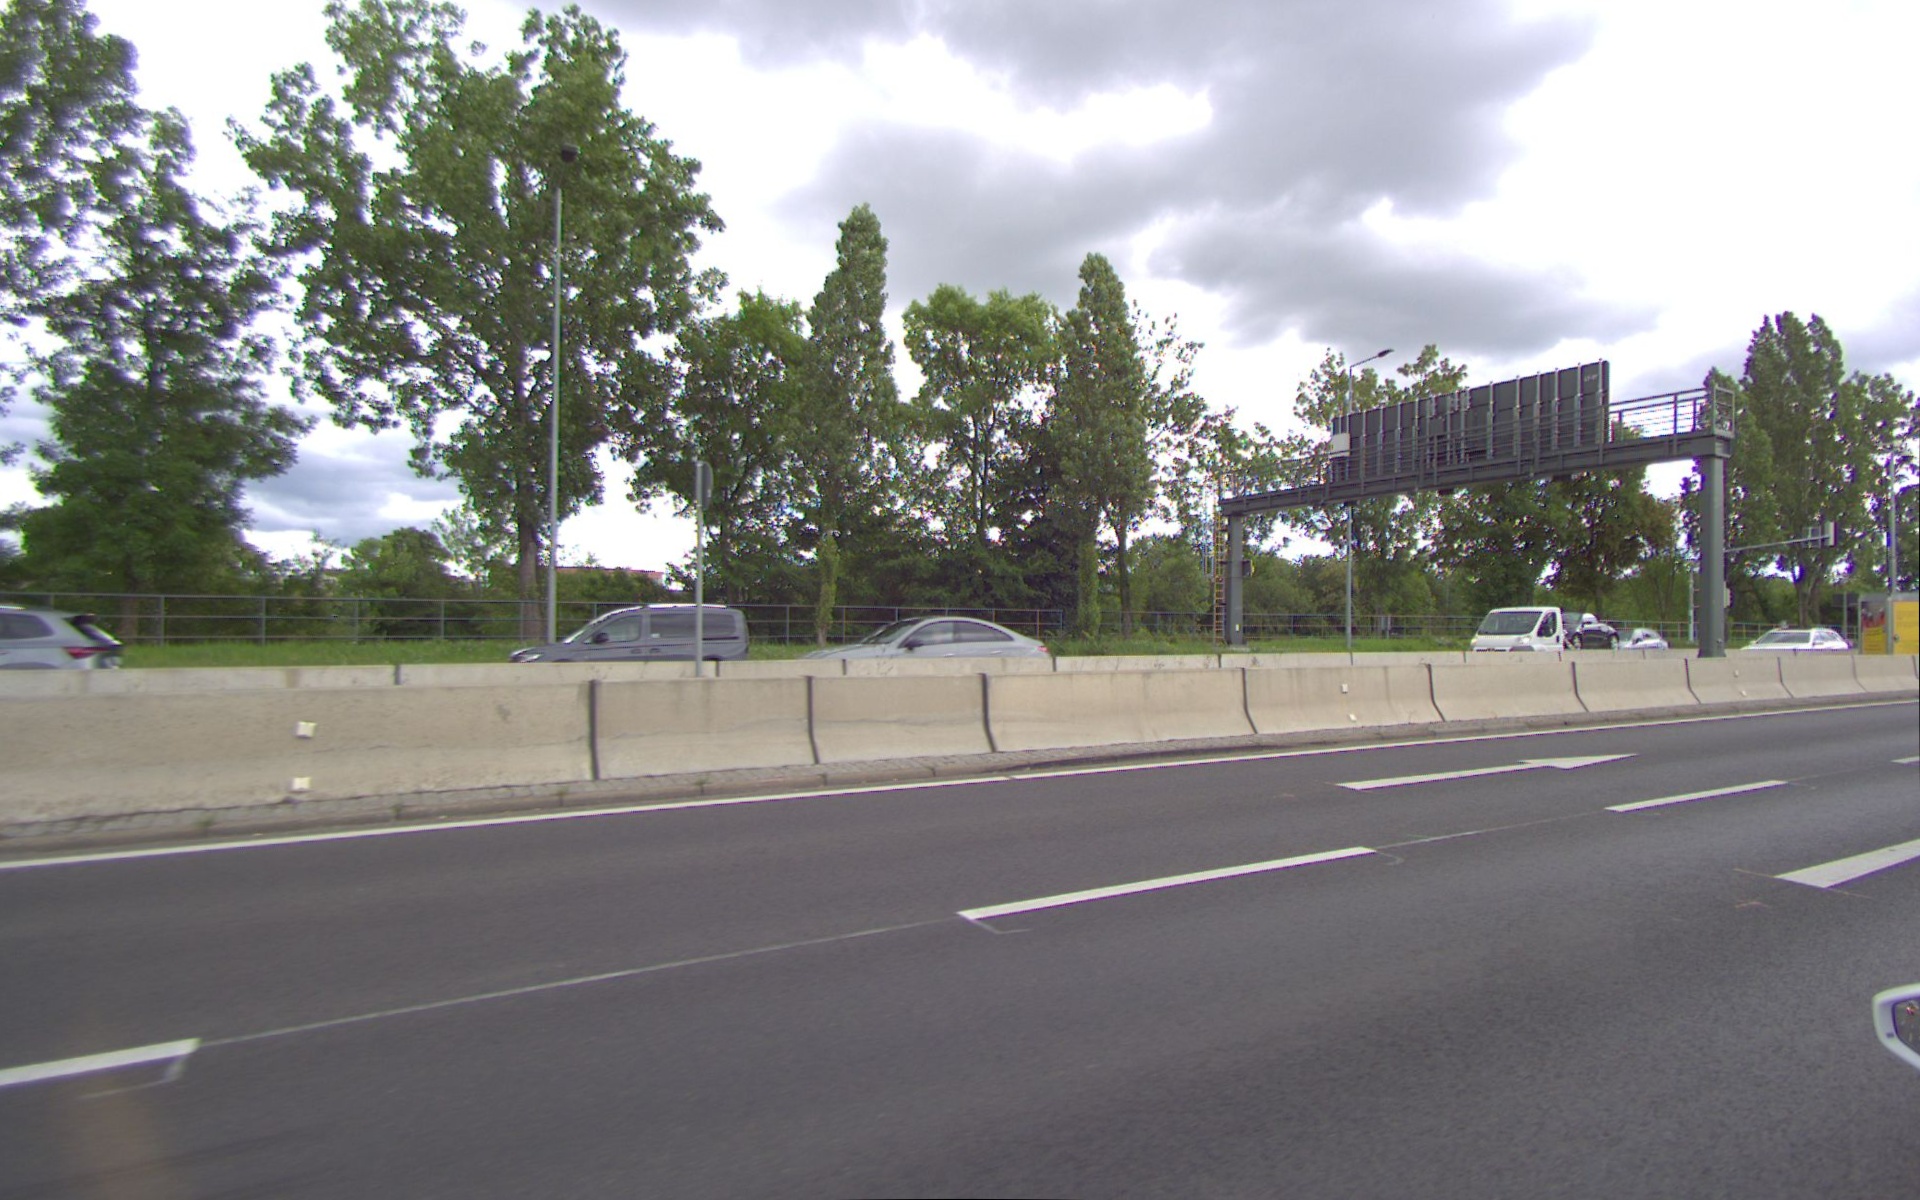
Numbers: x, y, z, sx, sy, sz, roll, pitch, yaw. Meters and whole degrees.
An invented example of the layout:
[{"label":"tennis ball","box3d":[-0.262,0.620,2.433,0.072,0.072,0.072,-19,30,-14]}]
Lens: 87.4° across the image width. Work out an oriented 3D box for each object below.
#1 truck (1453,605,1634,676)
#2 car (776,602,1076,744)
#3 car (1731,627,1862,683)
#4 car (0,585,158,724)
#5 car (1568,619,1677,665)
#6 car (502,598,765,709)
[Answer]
[{"label":"truck","box3d":[18.795,1.243,32.268,6.227,2.041,2.194,1,1,-30]},{"label":"car","box3d":[-0.523,1.108,16.841,4.627,2.041,1.983,1,1,-31]},{"label":"car","box3d":[28.496,1.816,34.195,4.641,1.691,1.983,1,1,-31]},{"label":"car","box3d":[-13.074,0.665,12.899,4.078,1.705,1.868,1,1,-31]},{"label":"car","box3d":[27.065,1.668,41.015,4.361,1.707,1.983,1,1,-31]},{"label":"car","box3d":[-6.733,1.031,20.841,4.879,2.041,1.983,1,1,-31]}]
